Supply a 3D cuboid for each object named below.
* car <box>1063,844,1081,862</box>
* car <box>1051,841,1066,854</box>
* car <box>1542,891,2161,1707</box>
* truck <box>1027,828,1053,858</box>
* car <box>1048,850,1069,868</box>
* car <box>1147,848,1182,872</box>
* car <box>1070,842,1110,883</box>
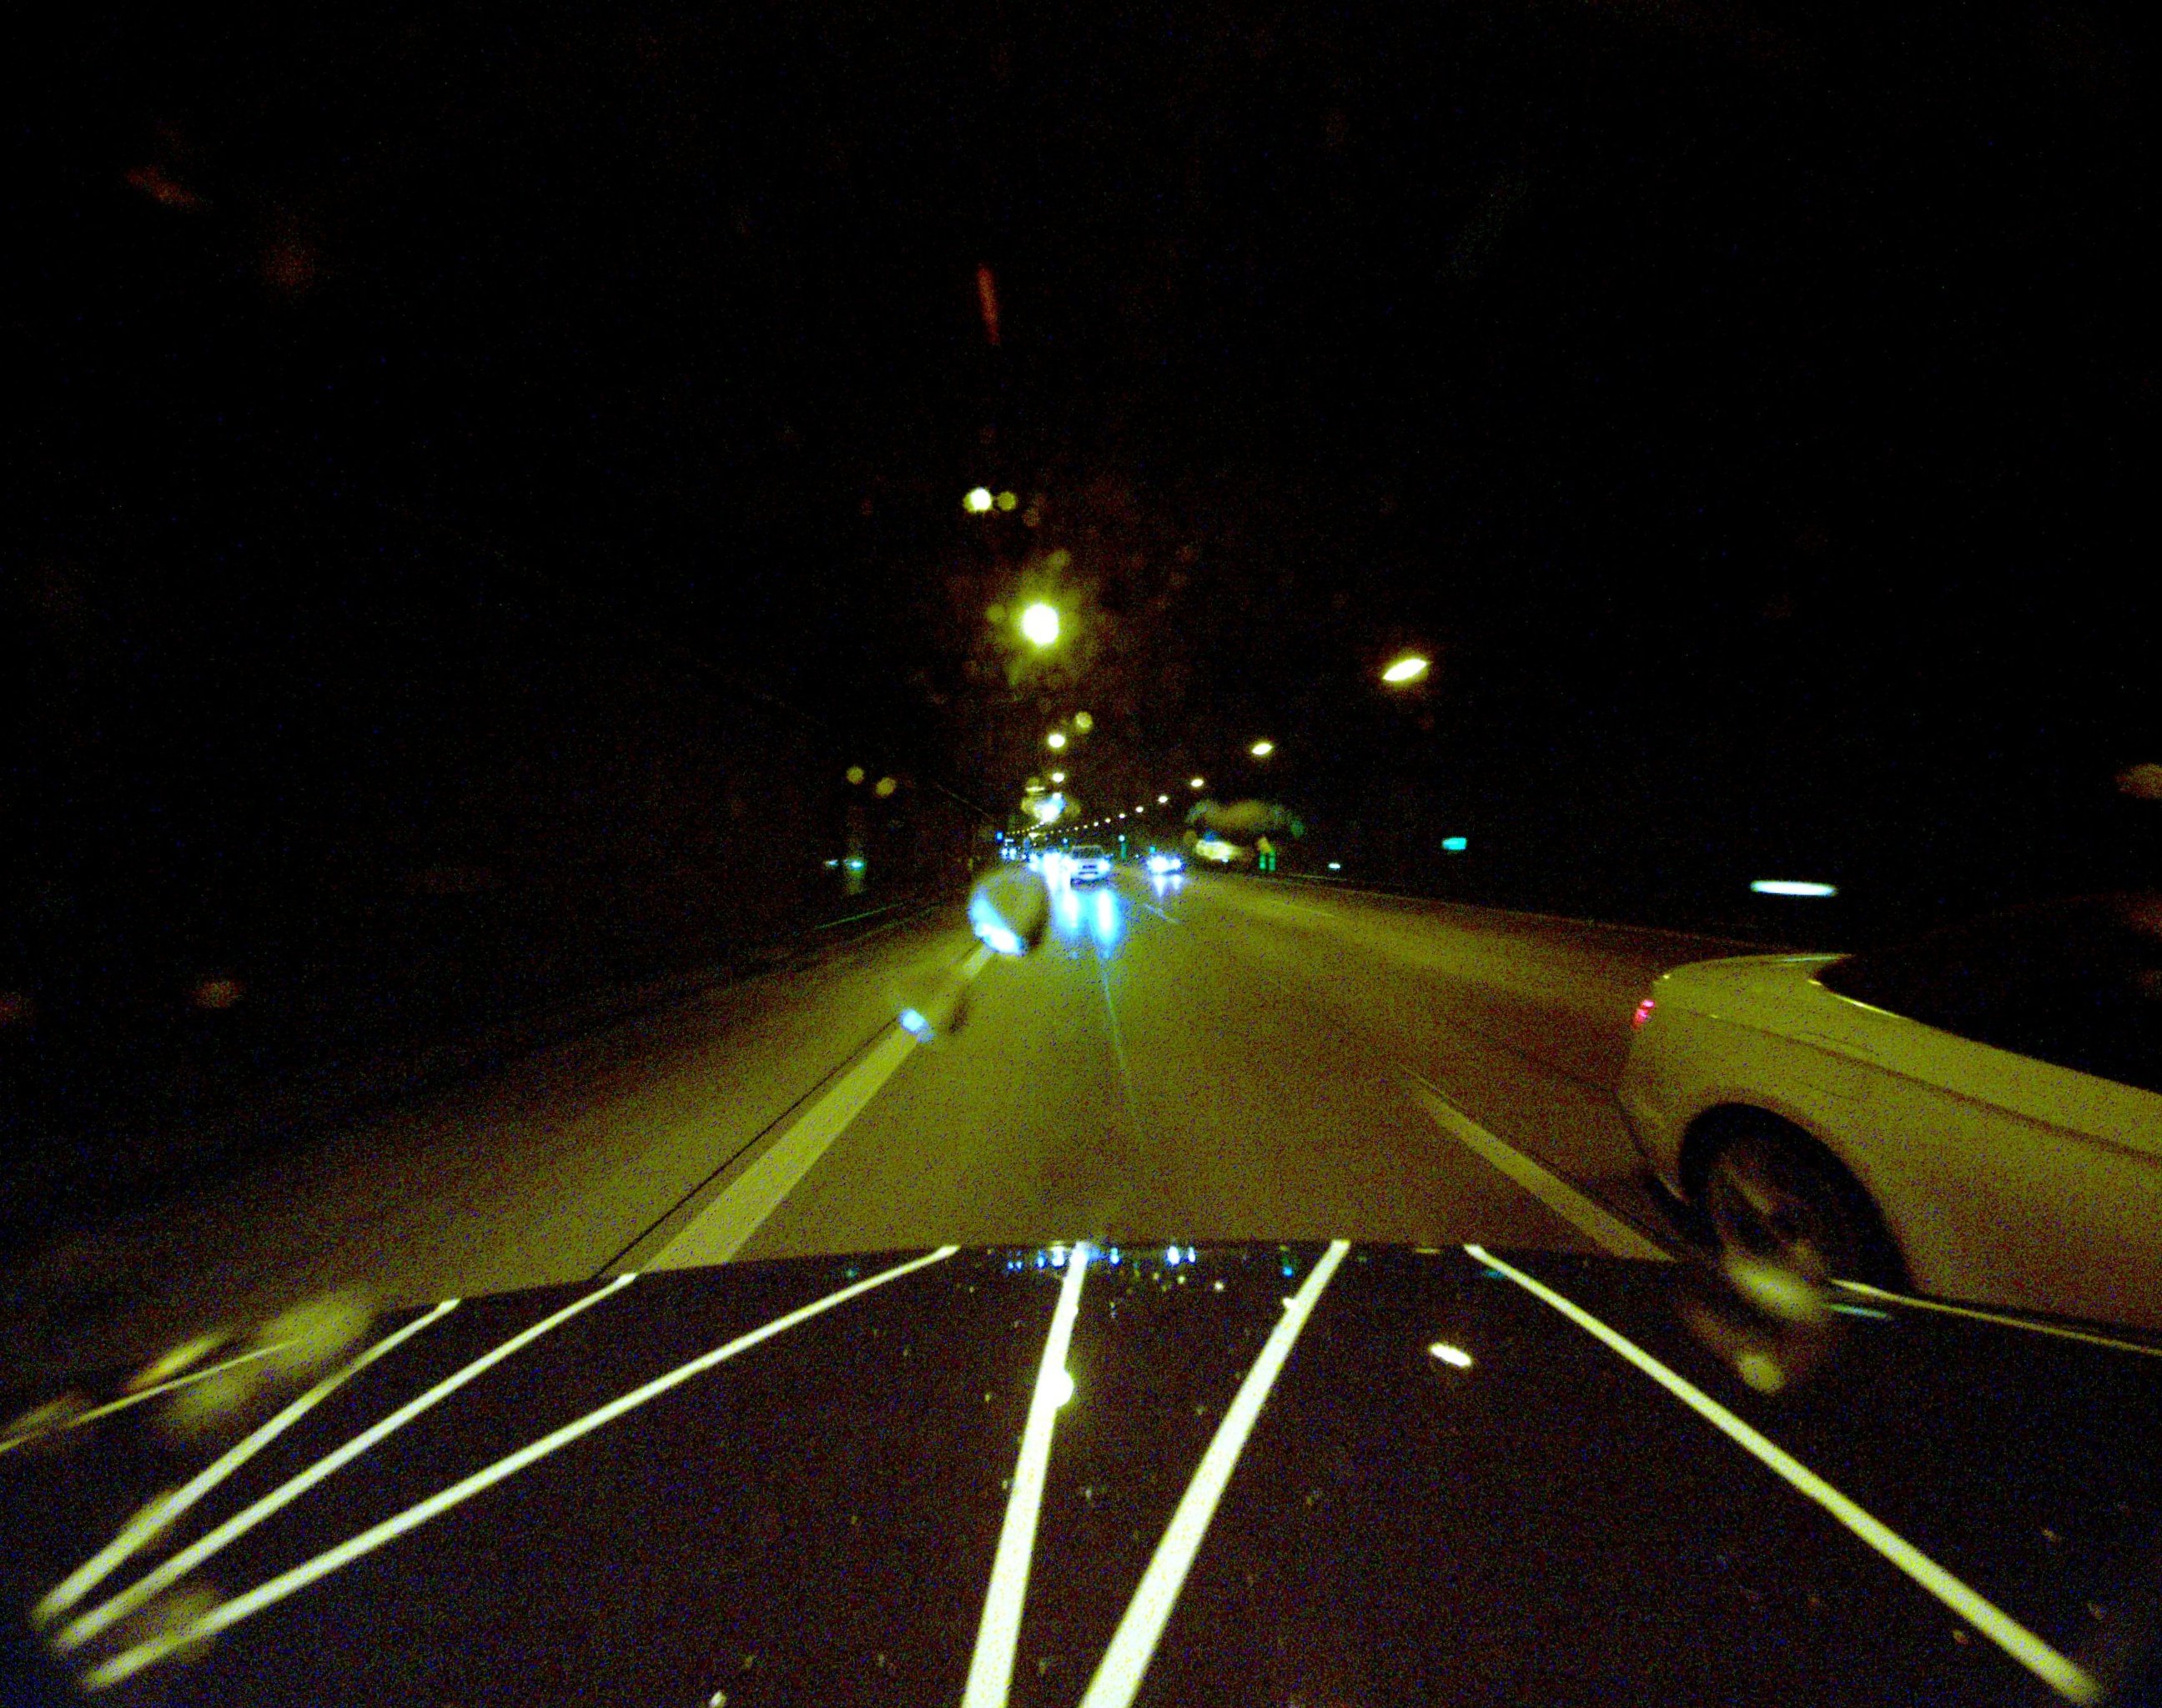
[{"bbox_3d":[-1.161,-0.145,98.692,1.999,2.003,3.996,-2,4,-4],"label":"car"},{"bbox_3d":[-3.577,-0.995,119.435,2.000,1.810,3.995,-2,4,-6],"label":"car"},{"bbox_3d":[2.869,0.936,0.808,1.706,1.411,5.059,-1,1,0],"label":"car"},{"bbox_3d":[-6.063,-1.646,112.452,3.144,4.137,7.379,-2,3,-8],"label":"truck"},{"bbox_3d":[-2.139,0.411,71.034,1.759,1.567,3.998,-2,0,-5],"label":"car"},{"bbox_3d":[5.557,0.373,50.856,1.739,1.447,3.999,-1,0,-2],"label":"car"},{"bbox_3d":[0.439,0.419,41.228,1.999,2.002,4.359,-2,1,-1],"label":"car"}]
